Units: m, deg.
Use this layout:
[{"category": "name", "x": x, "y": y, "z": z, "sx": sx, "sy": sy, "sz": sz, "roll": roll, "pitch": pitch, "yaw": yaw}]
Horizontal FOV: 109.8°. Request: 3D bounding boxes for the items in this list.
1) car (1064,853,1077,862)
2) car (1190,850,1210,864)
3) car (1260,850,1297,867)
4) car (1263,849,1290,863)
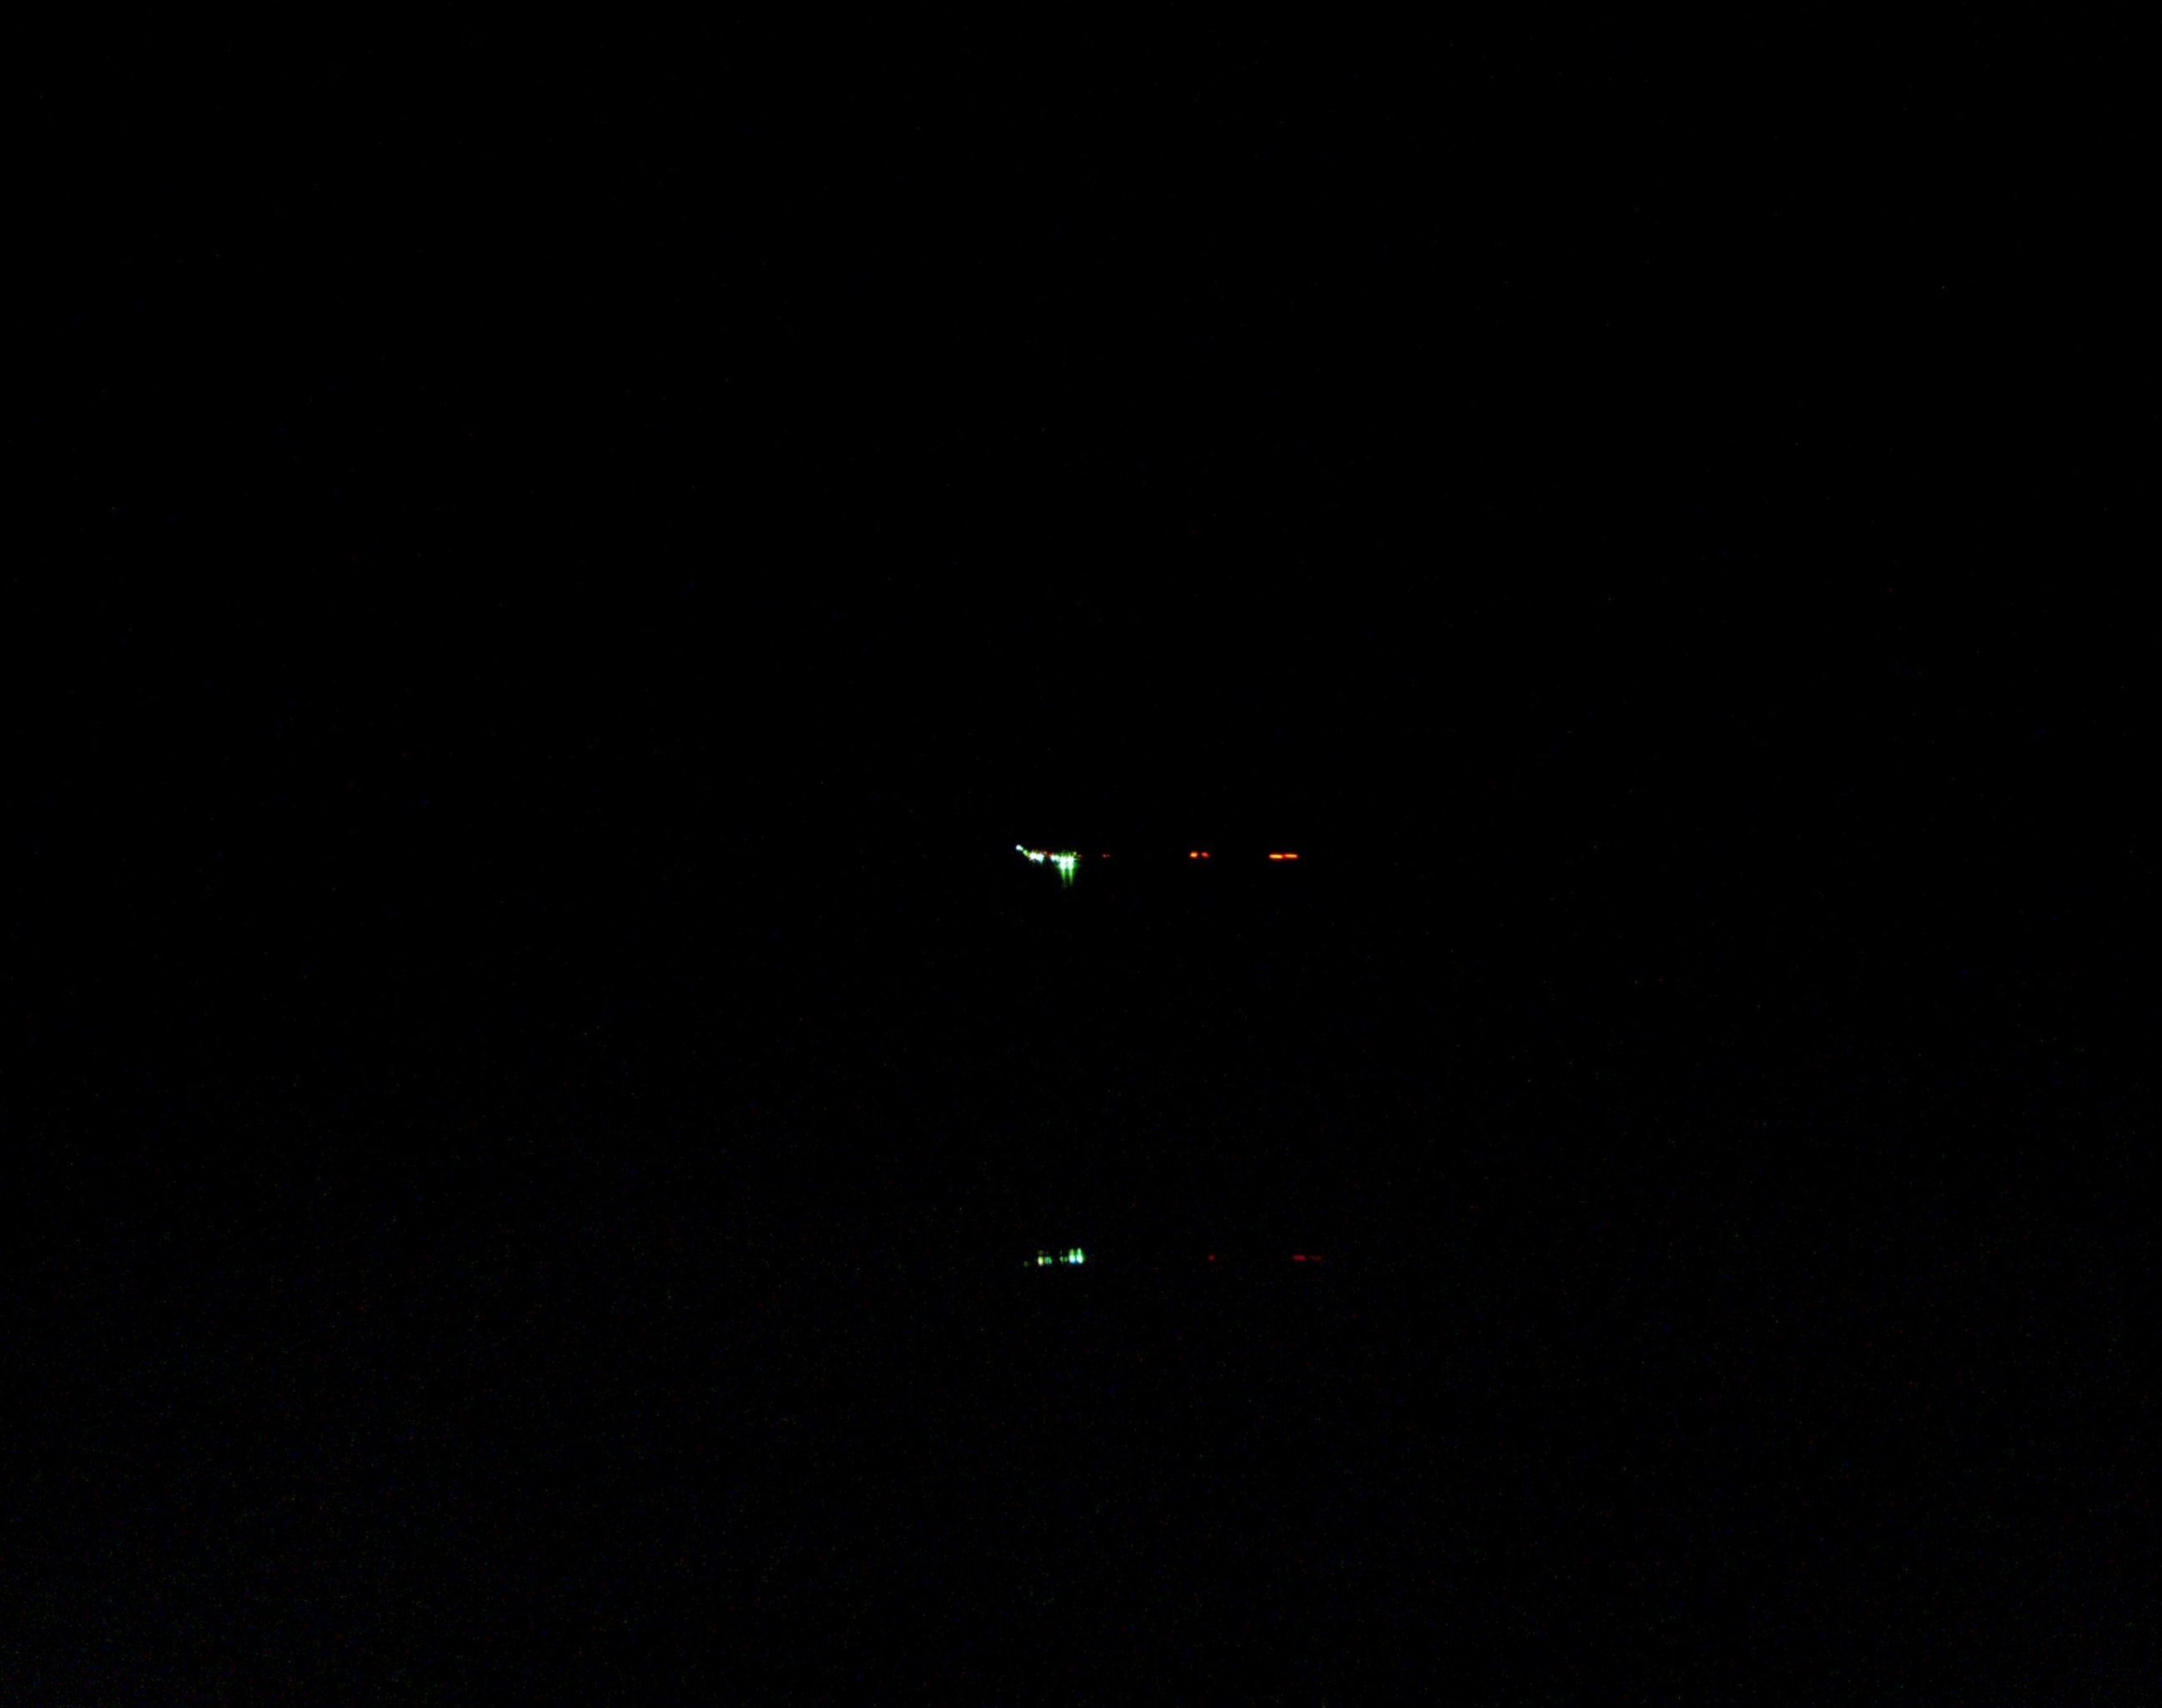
[{"category": "car", "x": -1.925, "y": 0.651, "z": 137.483, "sx": 2.154, "sy": 1.558, "sz": 4.580, "roll": -2, "pitch": 1, "yaw": -2}, {"category": "car", "x": 15.983, "y": 0.362, "z": 102.323, "sx": 1.998, "sy": 1.780, "sz": 4.680, "roll": -2, "pitch": 1, "yaw": 1}, {"category": "car", "x": 18.025, "y": 0.374, "z": 69.516, "sx": 1.999, "sy": 1.471, "sz": 4.929, "roll": -2, "pitch": 1, "yaw": -1}, {"category": "car", "x": 22.579, "y": 0.160, "z": 87.961, "sx": 1.998, "sy": 1.499, "sz": 4.400, "roll": -2, "pitch": 1, "yaw": 0}]
